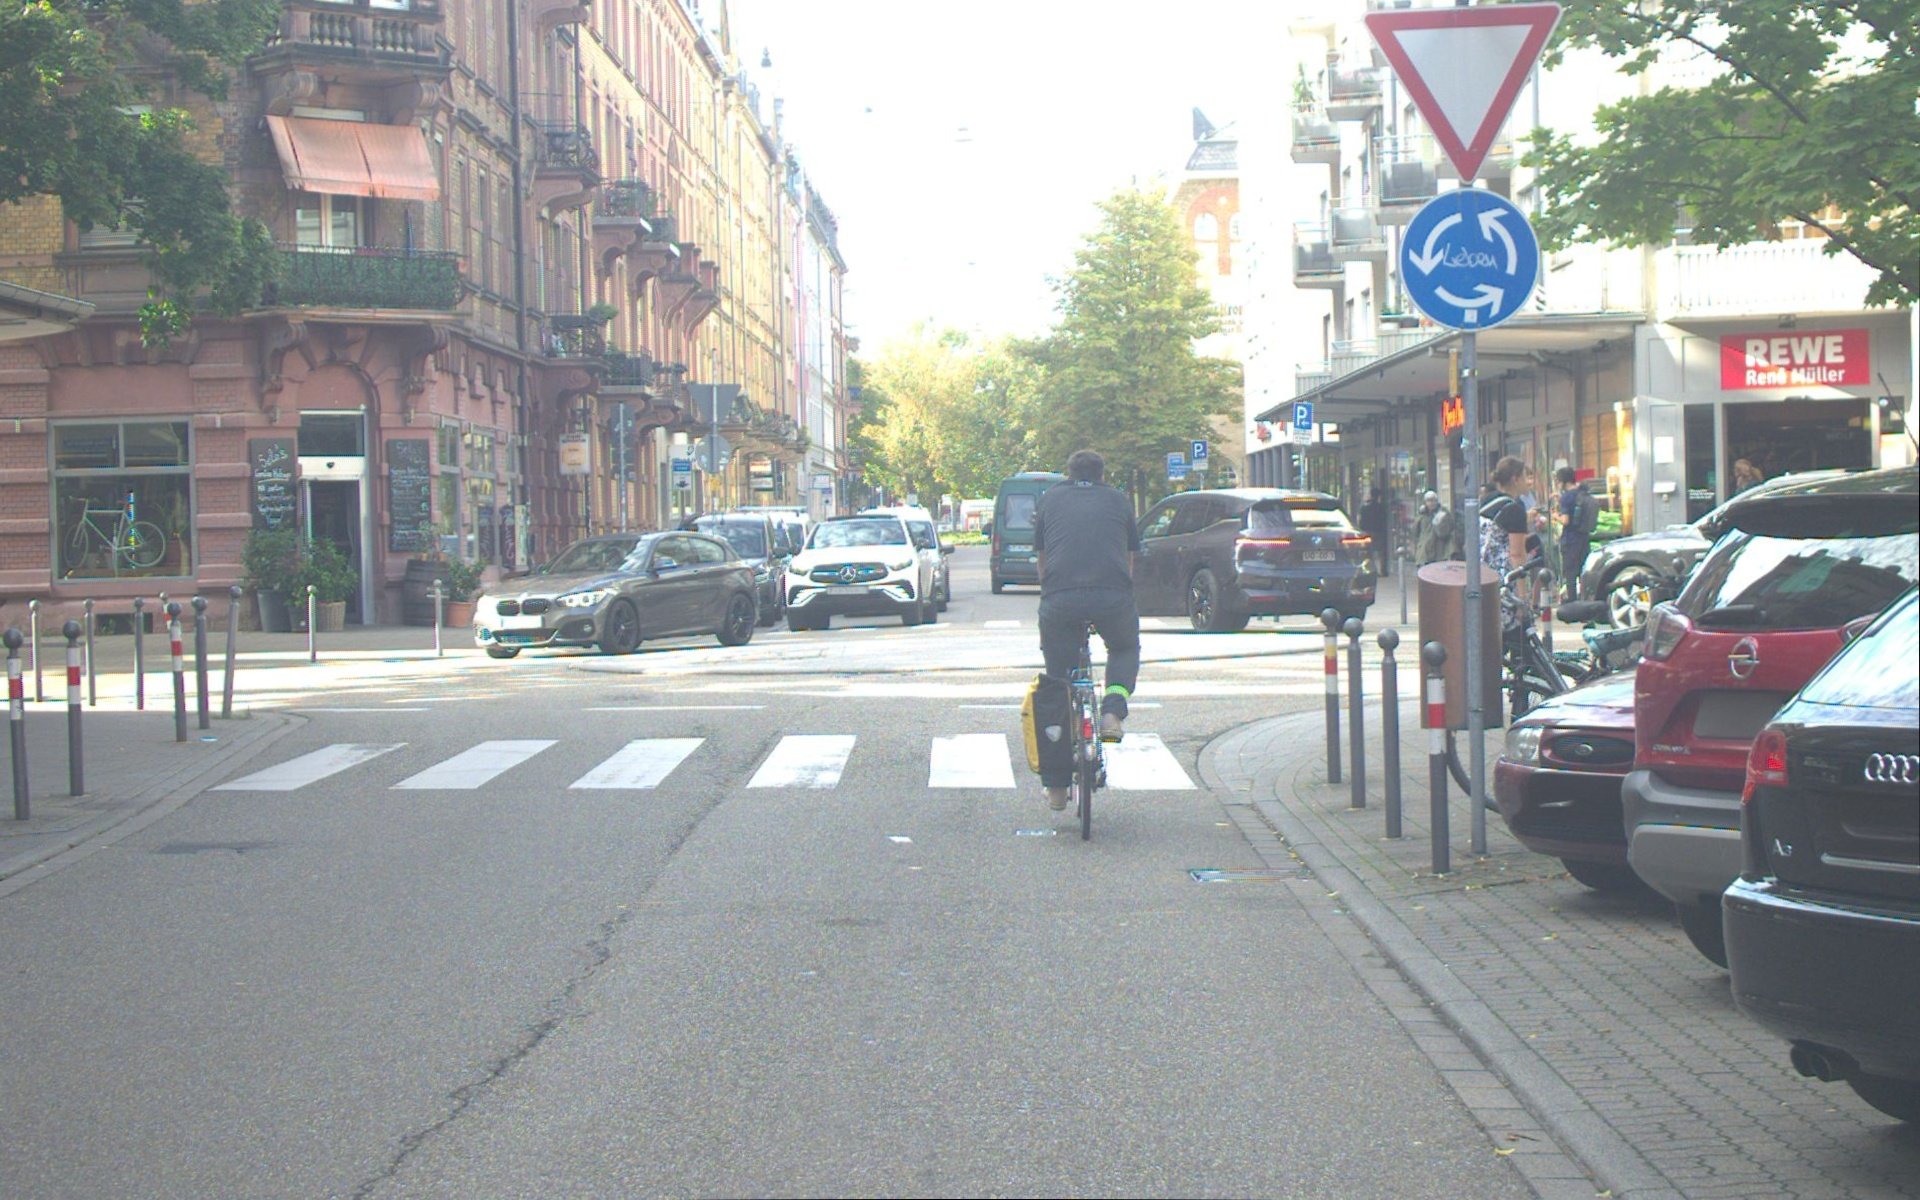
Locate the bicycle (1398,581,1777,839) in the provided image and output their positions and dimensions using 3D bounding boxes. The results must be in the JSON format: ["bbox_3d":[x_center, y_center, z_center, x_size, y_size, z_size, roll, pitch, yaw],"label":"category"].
[{"bbox_3d":[2.756,0.471,15.314,0.548,1.036,1.857,-5,2,-28],"label":"bicycle"}]

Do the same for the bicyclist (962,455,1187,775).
[{"bbox_3d":[0.551,0.061,16.352,0.934,1.478,0.747,0,1,14],"label":"bicyclist"}]

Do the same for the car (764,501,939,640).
[{"bbox_3d":[-1.517,-0.474,49.861,1.943,1.716,4.849,-3,3,5],"label":"car"}]

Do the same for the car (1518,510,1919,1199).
[{"bbox_3d":[3.703,0.486,7.906,4.400,1.452,1.943,-2,2,-24],"label":"car"}]

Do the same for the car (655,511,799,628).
[{"bbox_3d":[-3.749,-0.532,55.975,1.783,1.718,4.445,0,3,3],"label":"car"}]

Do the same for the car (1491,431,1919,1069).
[{"bbox_3d":[4.020,0.238,10.648,4.340,1.639,1.822,-4,2,-25],"label":"car"}]

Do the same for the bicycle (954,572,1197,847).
[{"bbox_3d":[0.591,0.472,16.391,0.666,1.174,2.495,0,1,14],"label":"bicycle"}]

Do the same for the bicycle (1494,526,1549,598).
[{"bbox_3d":[8.014,-0.550,49.138,0.362,1.013,1.431,-2,1,-7],"label":"bicycle"}]

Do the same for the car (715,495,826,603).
[{"bbox_3d":[-3.715,-1.033,67.886,1.993,2.007,4.000,-2,1,-1],"label":"car"}]

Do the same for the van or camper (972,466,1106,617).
[{"bbox_3d":[1.627,-1.250,72.452,2.531,3.026,4.459,-1,1,-1],"label":"van or camper"}]

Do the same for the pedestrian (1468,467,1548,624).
[{"bbox_3d":[6.522,-0.650,40.937,0.869,1.845,0.612,-1,1,6],"label":"pedestrian"}]

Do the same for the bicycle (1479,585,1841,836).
[{"bbox_3d":[3.145,0.482,15.633,0.459,1.036,1.857,-5,2,-28],"label":"bicycle"}]

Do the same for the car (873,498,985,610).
[{"bbox_3d":[-0.506,-0.821,59.917,1.793,1.784,4.736,-3,1,1],"label":"car"}]

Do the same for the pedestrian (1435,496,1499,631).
[{"bbox_3d":[6.536,-0.473,44.325,0.741,1.706,0.733,-1,1,12],"label":"pedestrian"}]

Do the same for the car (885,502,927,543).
[{"bbox_3d":[-2.748,-3.971,175.774,1.993,2.007,4.000,-1,1,0],"label":"car"}]

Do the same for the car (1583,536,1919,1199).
[{"bbox_3d":[3.435,0.536,4.721,4.753,1.452,2.057,-4,3,-27],"label":"car"}]

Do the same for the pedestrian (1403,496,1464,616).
[{"bbox_3d":[6.525,-0.612,47.350,0.745,1.623,0.812,-1,1,12],"label":"pedestrian"}]

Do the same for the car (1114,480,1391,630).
[{"bbox_3d":[3.339,-0.543,40.054,1.993,1.612,4.001,-2,1,-14],"label":"car"}]

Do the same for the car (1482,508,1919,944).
[{"bbox_3d":[4.166,0.366,13.282,3.931,1.452,1.770,-2,2,-27],"label":"car"}]

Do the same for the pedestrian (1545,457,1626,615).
[{"bbox_3d":[7.412,-0.762,40.768,0.869,1.845,0.612,-1,1,6],"label":"pedestrian"}]

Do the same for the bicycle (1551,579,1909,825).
[{"bbox_3d":[3.497,0.445,15.804,0.347,1.036,2.018,-5,2,-26],"label":"bicycle"}]

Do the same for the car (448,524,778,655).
[{"bbox_3d":[-3.961,-0.143,39.929,1.752,1.431,4.205,0,1,28],"label":"car"}]

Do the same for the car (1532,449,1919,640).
[{"bbox_3d":[8.214,-0.557,33.588,2.037,1.718,4.842,-5,4,-44],"label":"car"}]

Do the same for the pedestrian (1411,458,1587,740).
[{"bbox_3d":[3.486,-0.013,22.228,0.783,1.773,0.791,-1,2,39],"label":"pedestrian"}]
